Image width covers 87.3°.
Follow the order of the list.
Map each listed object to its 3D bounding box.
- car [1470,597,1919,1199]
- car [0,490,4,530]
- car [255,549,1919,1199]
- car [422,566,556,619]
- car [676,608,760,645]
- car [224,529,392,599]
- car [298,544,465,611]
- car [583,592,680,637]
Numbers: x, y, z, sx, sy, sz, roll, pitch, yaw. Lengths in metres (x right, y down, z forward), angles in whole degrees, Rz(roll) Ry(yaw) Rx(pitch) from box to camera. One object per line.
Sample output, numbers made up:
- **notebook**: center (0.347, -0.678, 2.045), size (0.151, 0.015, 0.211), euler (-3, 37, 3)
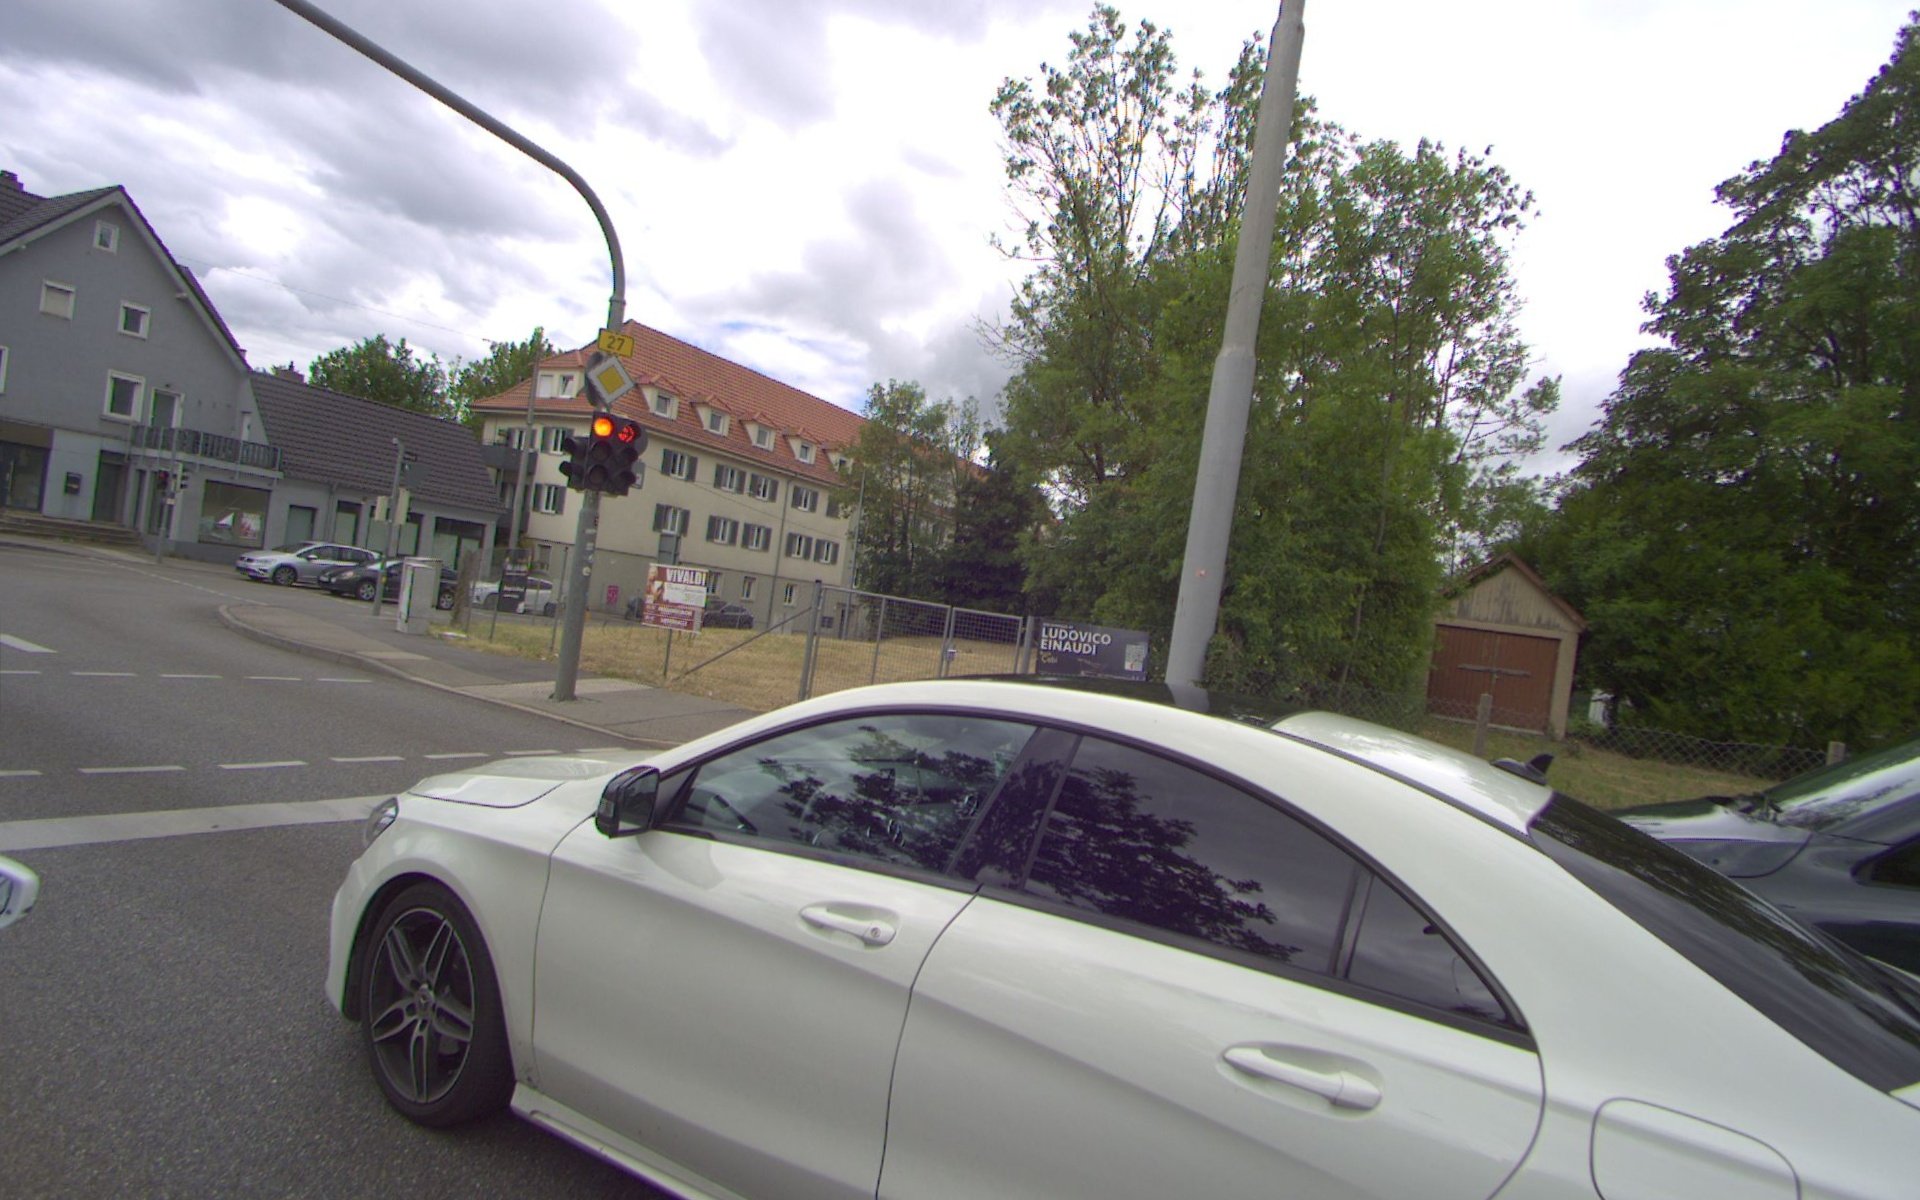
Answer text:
- **car**: center (4.444, 1.248, 3.326), size (4.631, 1.860, 1.953), euler (7, -2, 32)
- **car**: center (-26.547, -2.316, 24.742), size (1.866, 1.512, 4.085), euler (7, -1, 37)
- **car**: center (0.157, 0.843, 2.645), size (4.305, 1.451, 1.651), euler (7, 0, 32)
- **car**: center (-18.237, -0.254, 39.123), size (1.967, 1.495, 4.248), euler (7, -1, 32)
- **car**: center (-12.622, 1.396, 52.654), size (1.839, 1.393, 3.996), euler (7, -2, 32)
- **car**: center (-21.217, -1.134, 32.874), size (1.799, 1.557, 4.109), euler (7, -3, 33)
- **car**: center (-18.543, -0.678, 32.451), size (1.686, 1.498, 4.283), euler (8, -1, 31)
- **car**: center (-15.518, 0.734, 47.666), size (1.839, 1.554, 3.996), euler (7, -2, 32)
